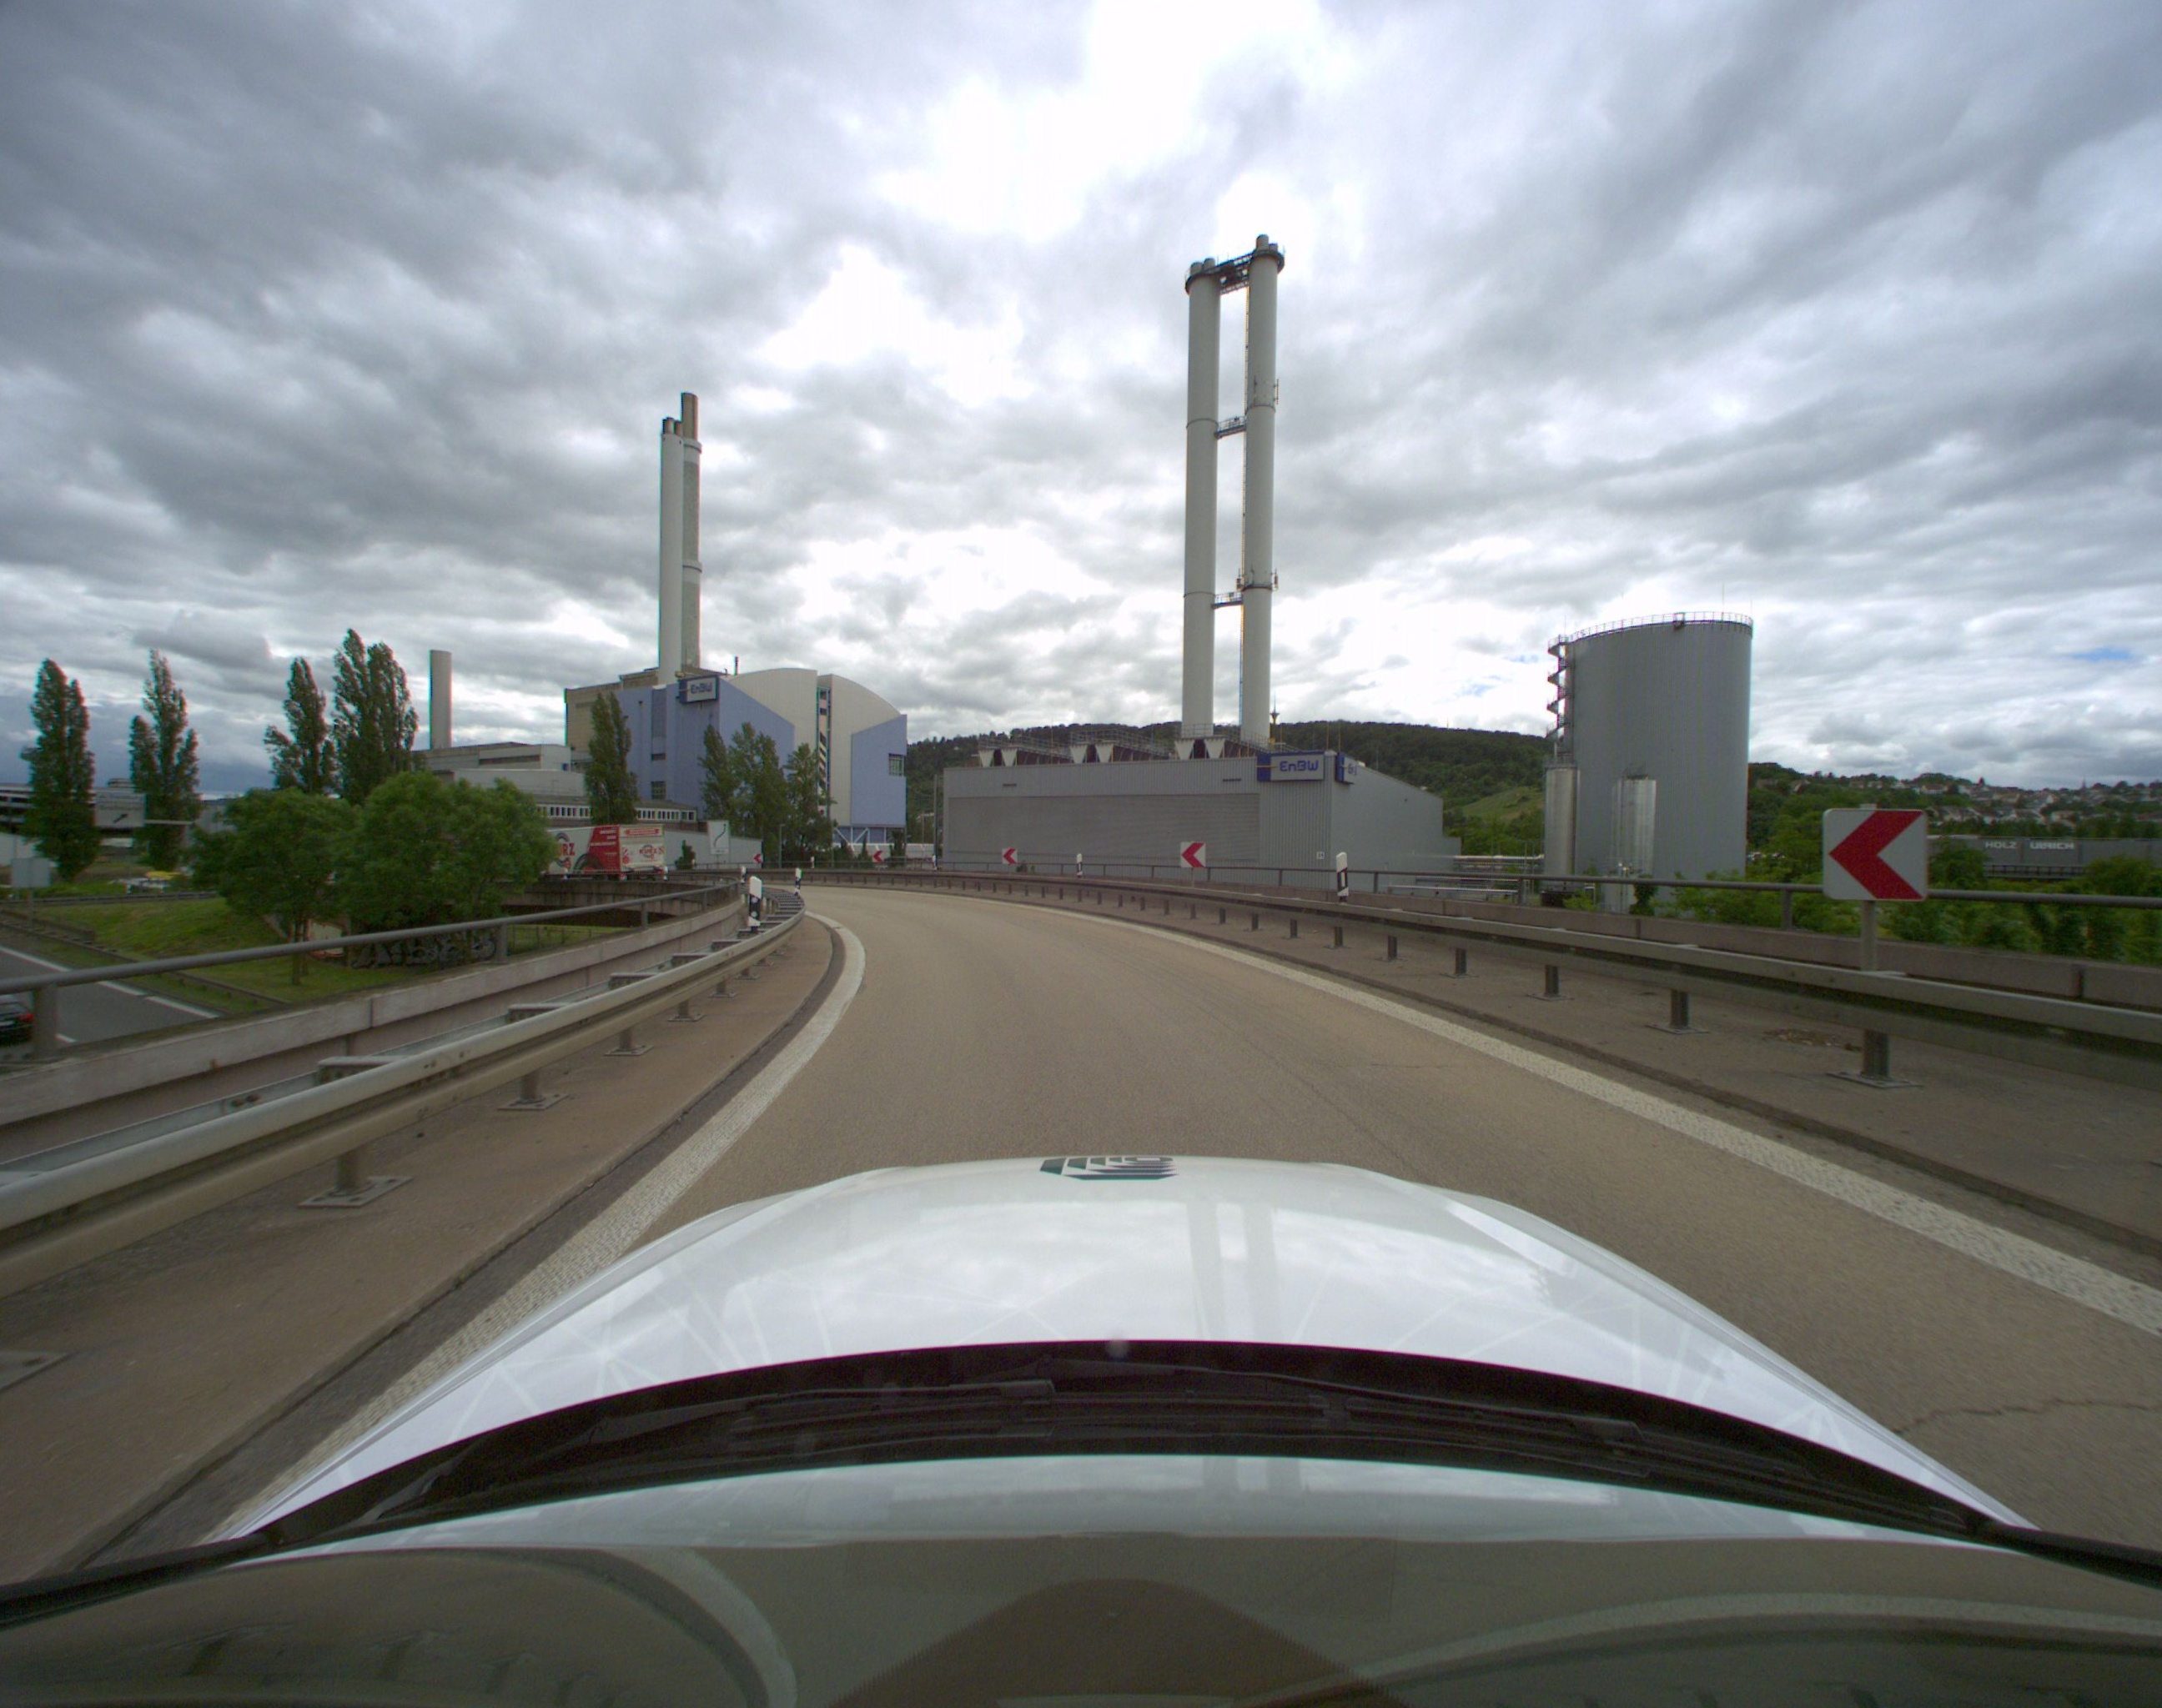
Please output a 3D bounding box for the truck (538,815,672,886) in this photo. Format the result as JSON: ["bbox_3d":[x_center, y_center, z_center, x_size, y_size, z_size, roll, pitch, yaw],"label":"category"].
[{"bbox_3d":[-26.898,-0.198,45.931,7.826,3.673,3.080,0,0,31],"label":"truck"}]
